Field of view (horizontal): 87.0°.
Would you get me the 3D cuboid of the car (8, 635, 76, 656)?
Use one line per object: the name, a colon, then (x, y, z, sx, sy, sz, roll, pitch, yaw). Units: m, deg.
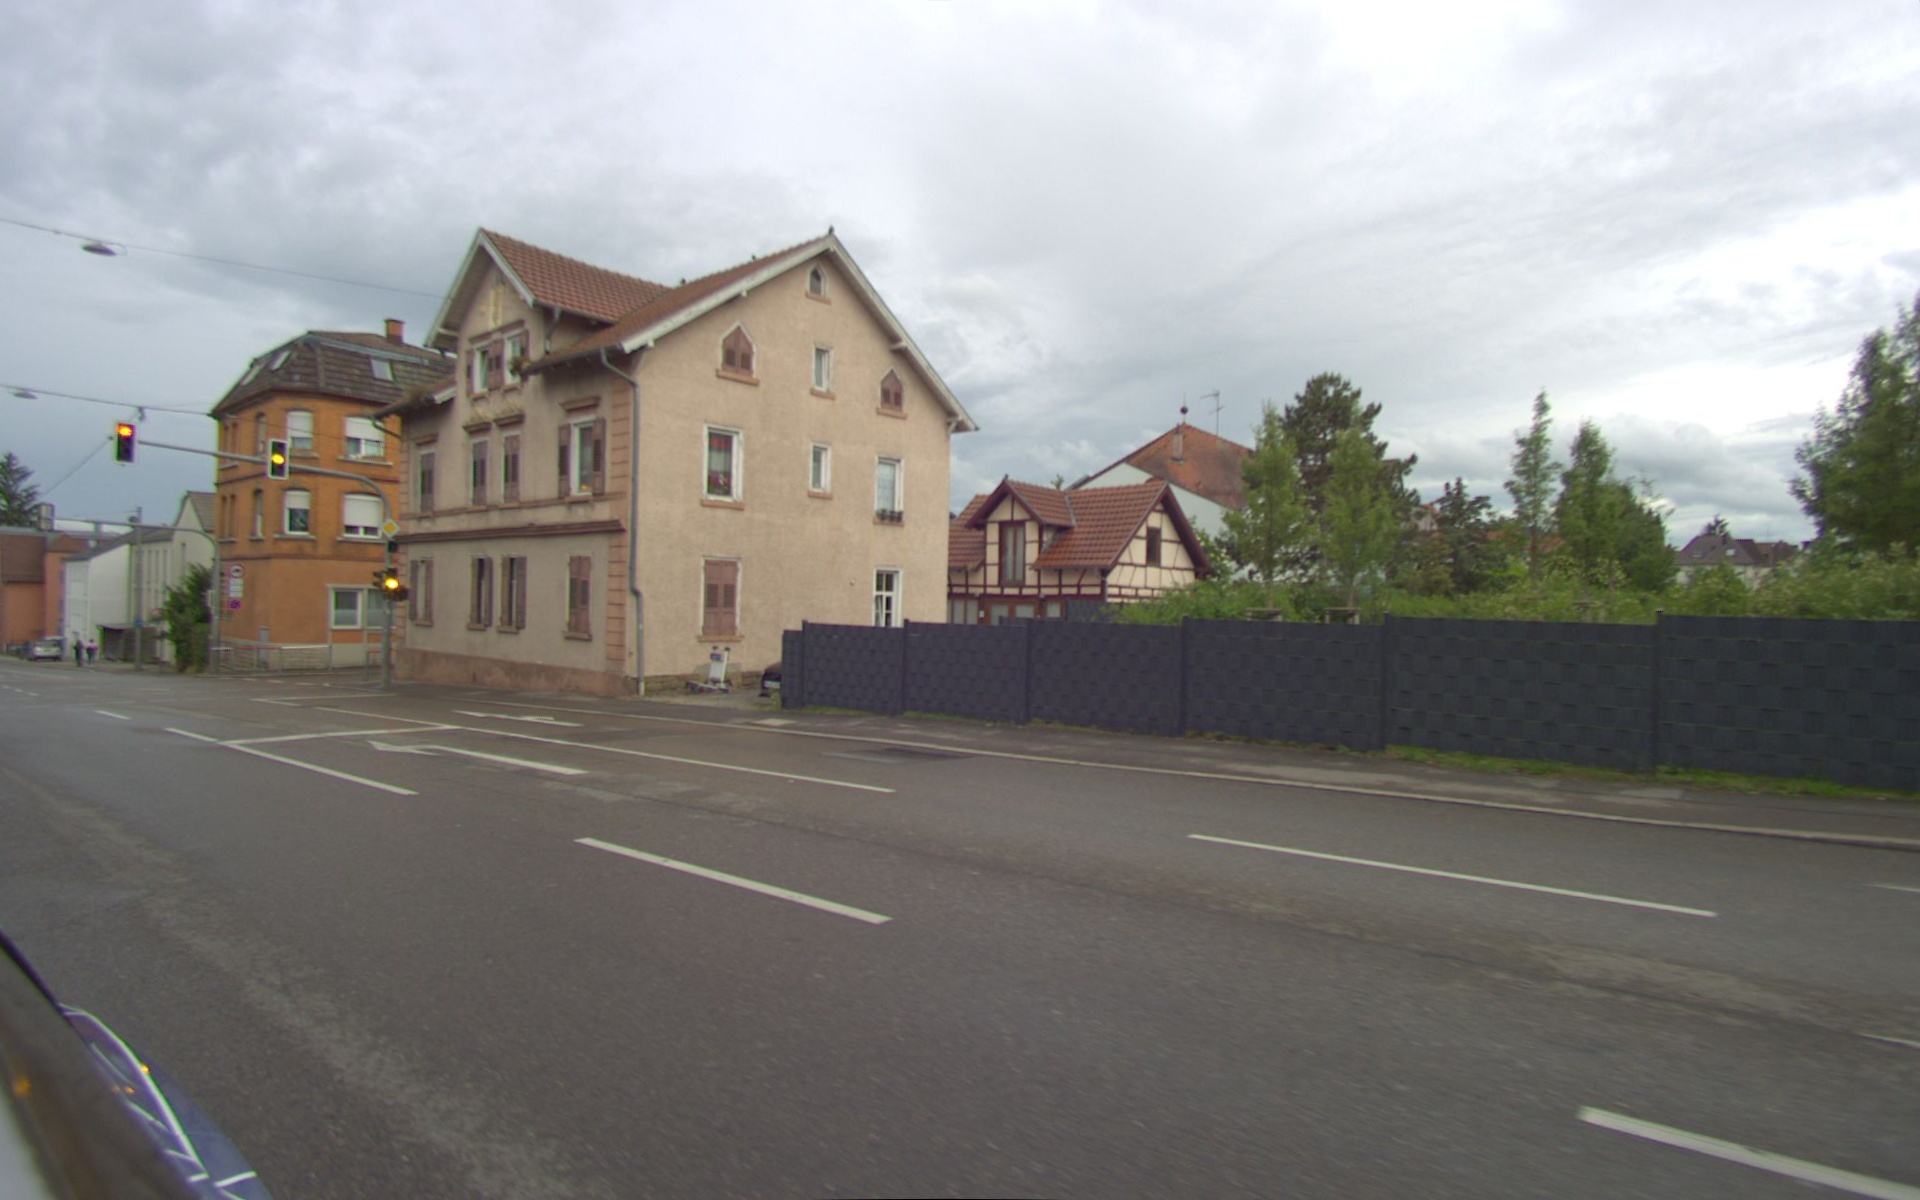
car: (-84.037, 4.142, 92.665, 2.153, 1.620, 4.482, -2, 0, 43)

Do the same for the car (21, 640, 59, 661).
car: (-70.652, 3.843, 77.715, 4.176, 1.519, 1.726, -1, -2, 42)

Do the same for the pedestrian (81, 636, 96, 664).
pedestrian: (-53.306, 3.058, 61.896, 0.911, 1.719, 0.633, -2, -1, 42)

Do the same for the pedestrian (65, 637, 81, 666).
pedestrian: (-53.797, 3.106, 61.353, 0.911, 1.719, 0.633, -2, -1, 42)

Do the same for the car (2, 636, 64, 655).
car: (-86.150, 4.214, 94.045, 2.000, 1.444, 4.116, -2, 0, 43)

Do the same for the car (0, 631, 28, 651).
car: (-105.997, 4.564, 112.128, 3.938, 2.029, 2.003, -1, 0, -41)

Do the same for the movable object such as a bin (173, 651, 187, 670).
movable object such as a bin: (-39.045, 3.024, 50.641, 0.525, 0.932, 0.405, -1, 0, 35)

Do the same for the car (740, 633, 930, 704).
car: (-2.483, 1.342, 20.909, 1.604, 1.172, 3.950, -1, 0, 37)
